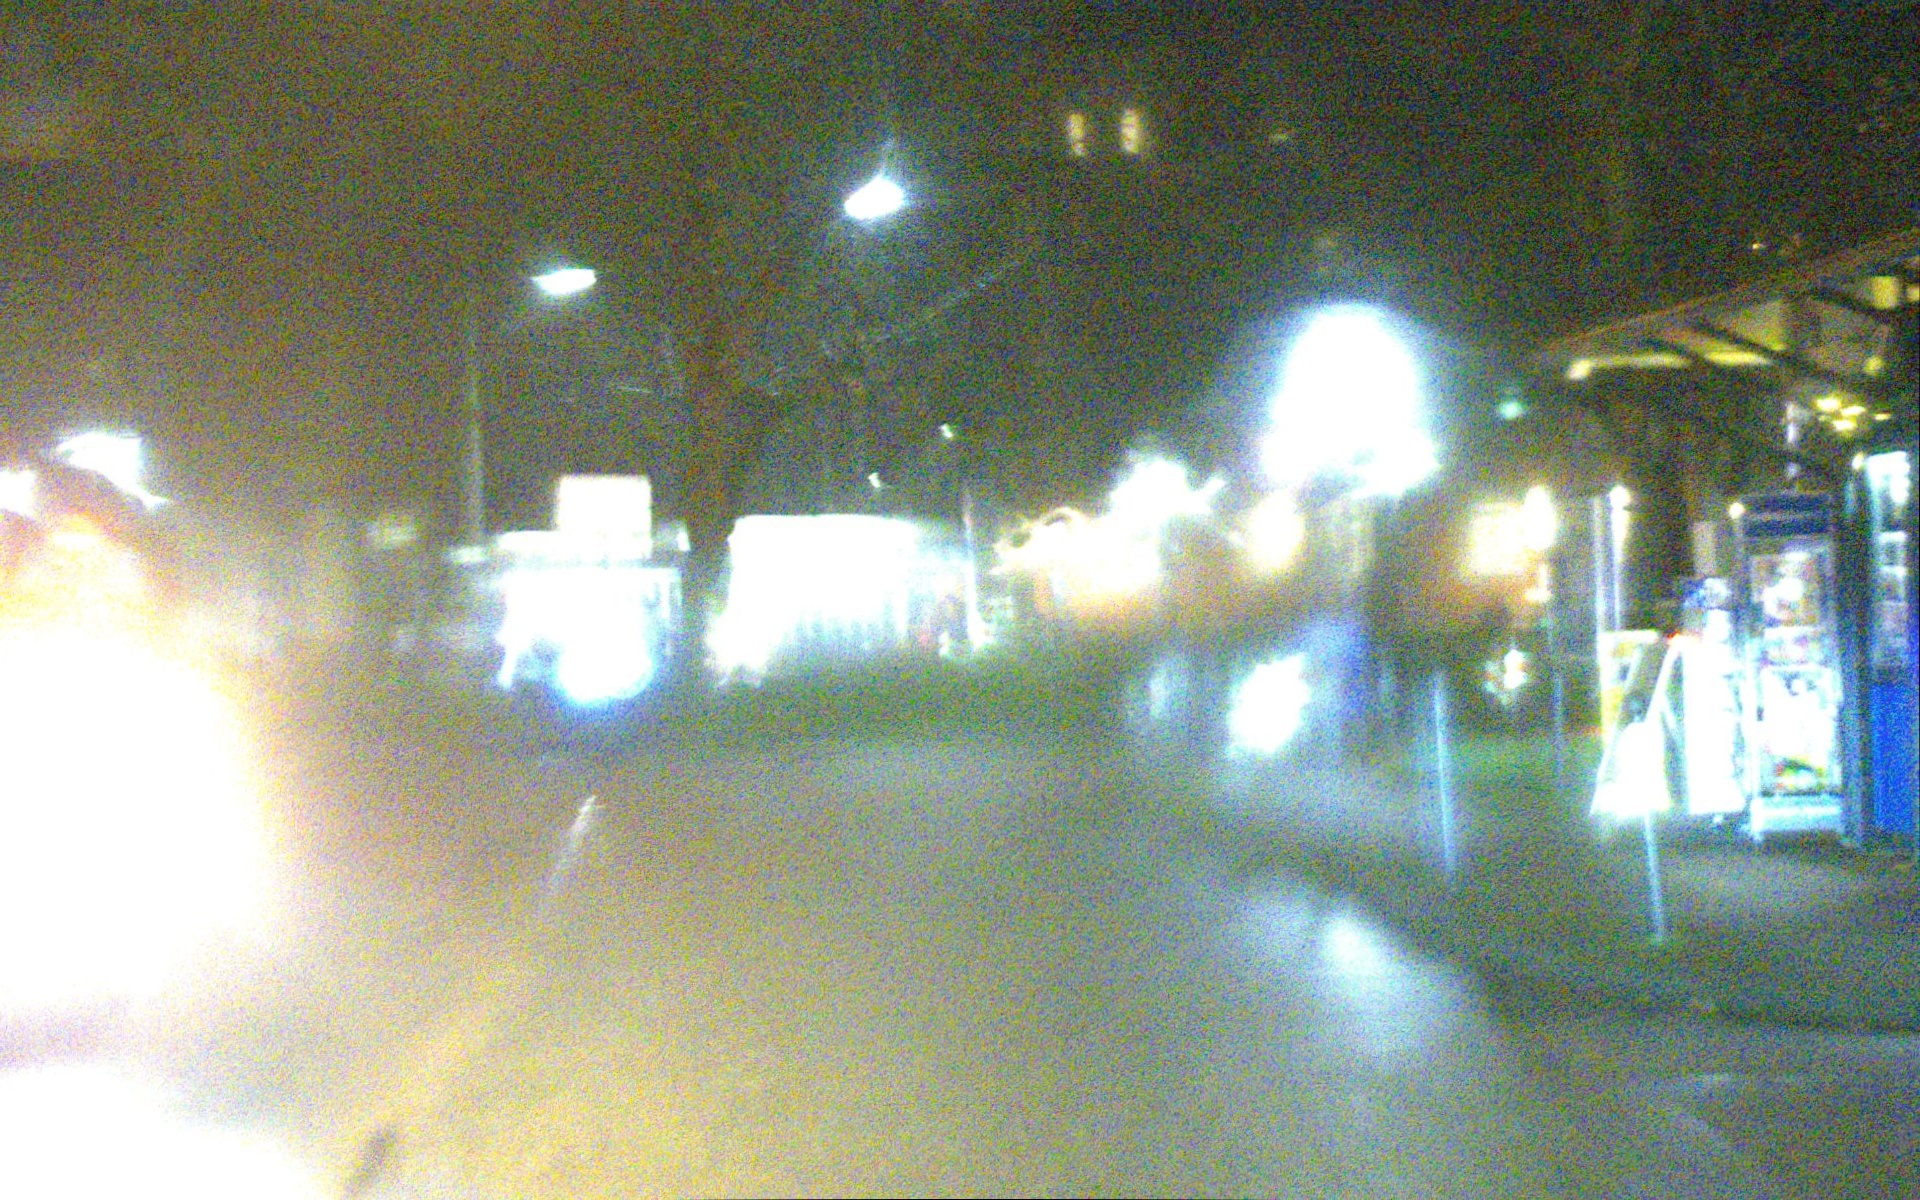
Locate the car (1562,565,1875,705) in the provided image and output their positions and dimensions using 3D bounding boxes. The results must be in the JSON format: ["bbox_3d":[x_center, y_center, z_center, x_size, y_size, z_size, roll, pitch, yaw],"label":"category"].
[{"bbox_3d":[9.125,0.436,41.317,3.450,1.608,1.736,1,-1,-33],"label":"car"}]

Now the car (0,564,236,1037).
[{"bbox_3d":[-4.208,0.723,14.035,1.920,1.612,4.575,-3,1,-6],"label":"car"}]
